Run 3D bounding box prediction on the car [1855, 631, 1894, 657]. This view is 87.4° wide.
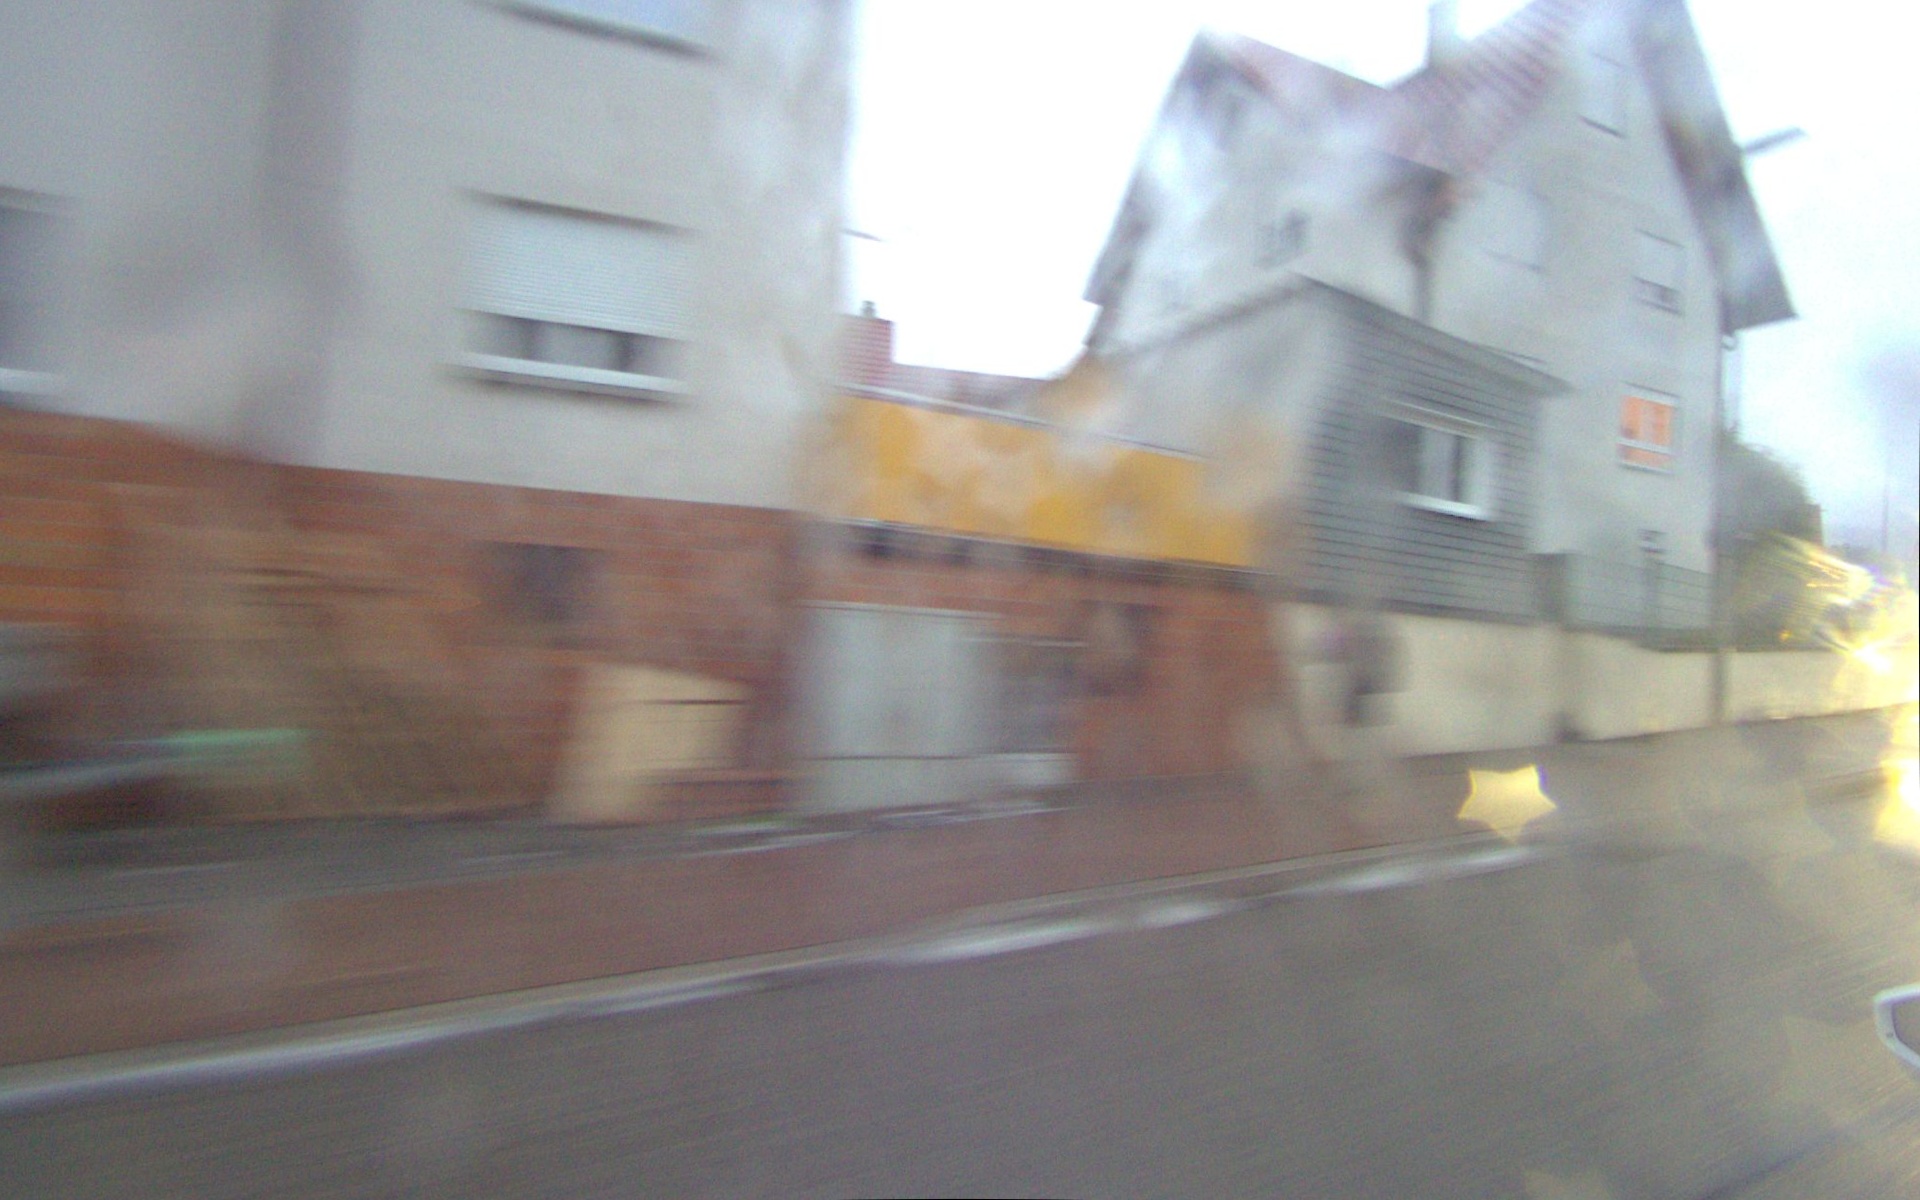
[{"bbox_3d":[60.739,2.915,66.740,1.663,1.605,4.157,0,-1,39],"label":"car"}]

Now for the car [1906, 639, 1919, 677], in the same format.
[{"bbox_3d":[38.879,2.306,39.914,1.599,1.457,3.640,0,-1,39],"label":"car"}]

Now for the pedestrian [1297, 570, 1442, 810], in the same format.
[{"bbox_3d":[3.173,0.672,7.793,0.802,1.756,0.595,3,0,-30],"label":"pedestrian"}]

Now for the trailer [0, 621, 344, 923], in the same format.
[{"bbox_3d":[-5.720,0.698,4.497,4.803,1.184,2.051,2,0,-26],"label":"trailer"}]
